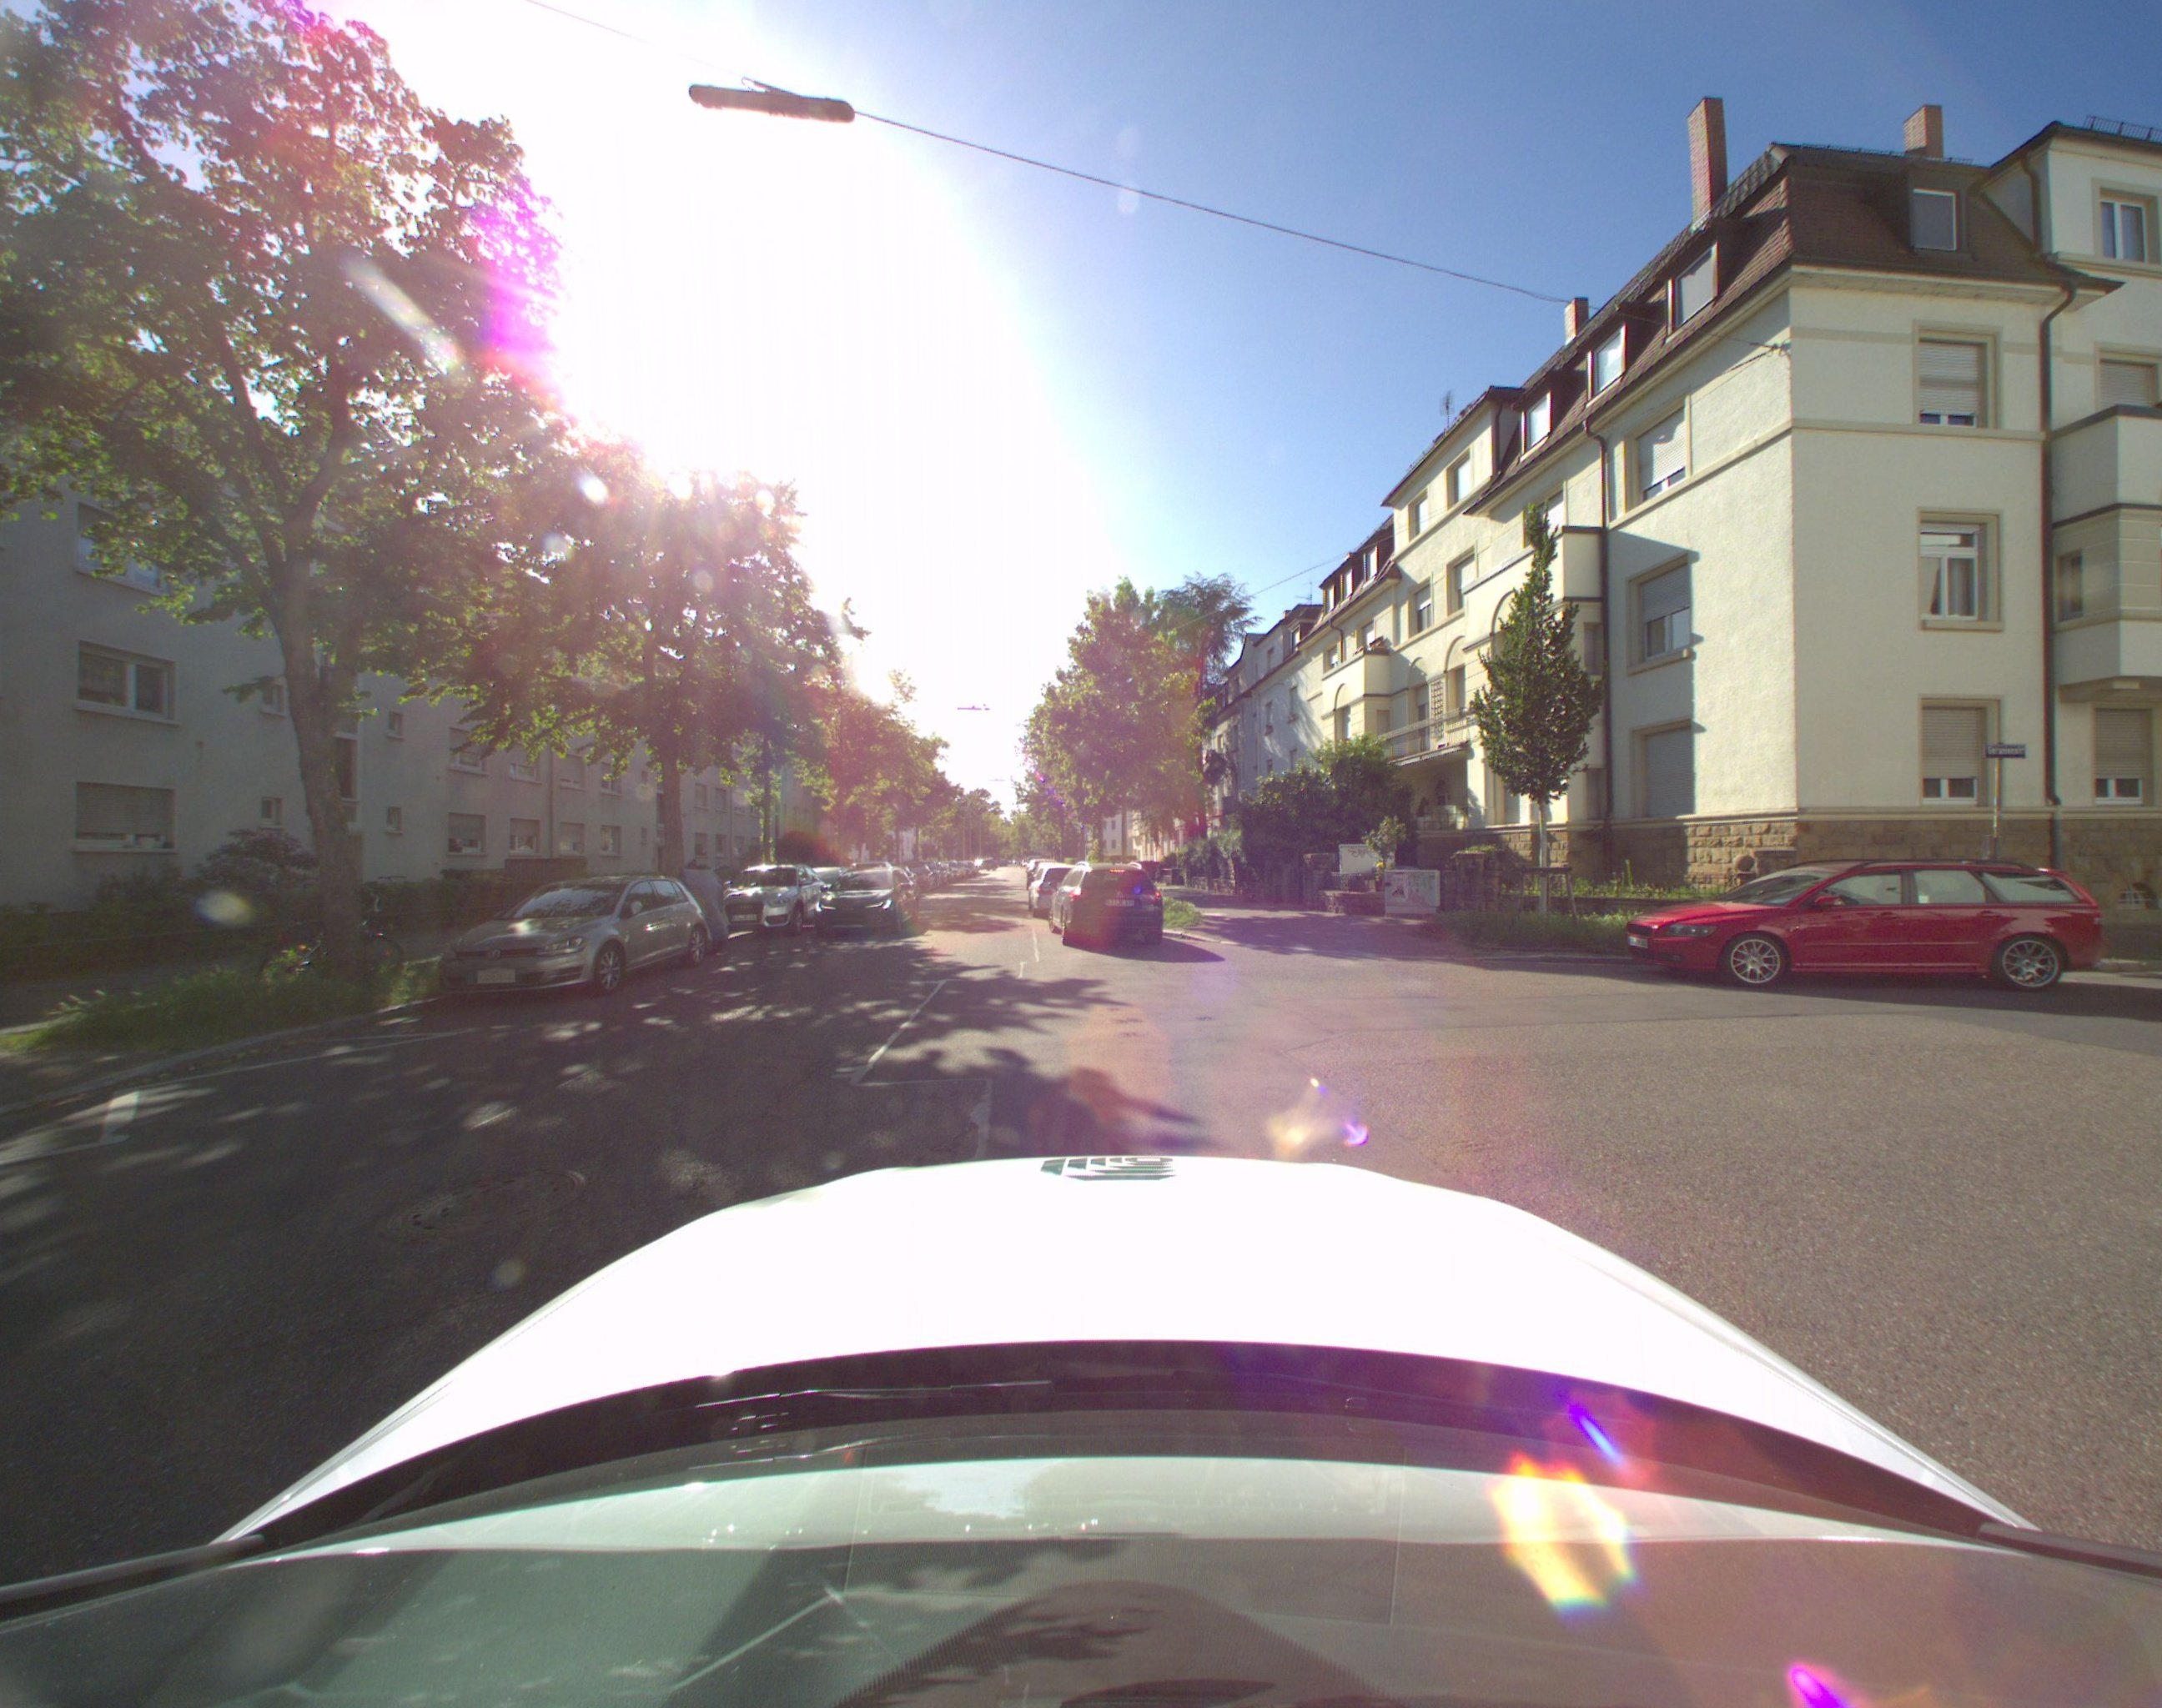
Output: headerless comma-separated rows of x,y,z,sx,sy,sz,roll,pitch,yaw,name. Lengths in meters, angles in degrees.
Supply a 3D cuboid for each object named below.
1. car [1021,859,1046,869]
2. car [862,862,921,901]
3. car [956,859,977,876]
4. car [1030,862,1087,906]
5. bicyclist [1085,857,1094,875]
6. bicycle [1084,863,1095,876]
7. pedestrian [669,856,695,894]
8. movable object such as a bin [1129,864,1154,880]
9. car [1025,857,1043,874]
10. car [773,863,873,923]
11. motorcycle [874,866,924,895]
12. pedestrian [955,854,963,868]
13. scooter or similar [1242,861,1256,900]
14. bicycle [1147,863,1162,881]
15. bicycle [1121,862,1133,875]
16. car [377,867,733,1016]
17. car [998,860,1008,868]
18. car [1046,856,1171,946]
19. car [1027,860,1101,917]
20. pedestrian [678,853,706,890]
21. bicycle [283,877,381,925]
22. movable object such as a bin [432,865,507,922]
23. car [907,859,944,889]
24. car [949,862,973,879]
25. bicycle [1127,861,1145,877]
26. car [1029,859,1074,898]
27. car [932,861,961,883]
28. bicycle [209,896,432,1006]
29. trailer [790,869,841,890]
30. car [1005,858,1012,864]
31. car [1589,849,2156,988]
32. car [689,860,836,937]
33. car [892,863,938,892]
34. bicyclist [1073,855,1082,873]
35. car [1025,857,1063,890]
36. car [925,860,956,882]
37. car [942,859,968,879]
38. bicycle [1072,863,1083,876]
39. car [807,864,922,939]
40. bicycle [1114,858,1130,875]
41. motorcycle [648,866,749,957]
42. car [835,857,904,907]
-7.922,1.588,135.576,3.985,1.587,1.722,-1,0,-9,car
-8.271,1.148,35.977,1.725,1.477,4.612,-4,0,-4,car
-11.667,1.338,83.506,1.837,1.595,4.254,-2,0,-5,car
-0.889,1.012,29.038,1.708,1.410,4.852,1,0,-5,car
0.734,1.080,74.001,0.676,1.553,1.019,-1,-1,-8,bicyclist
0.734,1.372,74.097,0.683,1.153,2.397,-1,0,-7,bicycle
-20.726,1.074,42.301,0.774,1.913,0.883,-1,-1,22,pedestrian
3.684,1.103,49.606,1.212,0.905,1.671,-1,0,16,movable object such as a bin
-5.516,1.306,94.307,1.967,1.949,4.976,-1,0,-5,car
-7.487,1.063,24.114,1.725,1.447,4.812,-3,0,-5,car
-8.856,1.267,39.561,2.289,1.270,0.804,-2,0,-15,motorcycle
-17.223,1.026,115.007,0.855,2.014,0.982,-1,0,4,pedestrian
5.283,0.832,25.674,0.399,1.185,1.209,-1,0,11,scooter or similar
4.178,1.019,46.134,0.580,0.975,1.901,-1,0,-3,bicycle
3.346,1.043,59.566,0.594,0.957,1.900,-1,0,-4,bicycle
-6.677,0.979,11.144,2.038,1.524,4.601,-1,0,-3,car
-15.916,1.982,166.530,1.782,1.609,3.988,-1,0,-8,car
0.372,0.841,16.347,1.893,1.524,4.957,0,-1,-5,car
-0.616,0.934,24.062,1.819,1.469,4.900,1,0,-5,car
-20.661,0.925,43.265,0.929,1.888,1.027,-1,-1,3,pedestrian
-18.156,1.111,19.811,0.786,1.041,1.930,-1,0,-9,bicycle
-14.976,0.950,19.998,0.929,1.324,1.374,-1,0,-10,movable object such as a bin
-9.118,1.138,48.036,1.788,1.566,4.454,-3,0,-7,car
-11.373,1.522,77.446,1.990,1.453,4.254,-3,0,-5,car
3.707,1.010,55.039,0.803,1.115,1.995,0,-1,-7,bicycle
-1.305,1.011,34.741,1.652,1.532,3.961,2,0,-5,car
-10.422,1.362,63.190,1.808,1.596,4.226,-1,0,-5,car
-8.915,1.080,9.698,0.529,1.015,2.091,6,0,2,bicycle
-14.498,1.366,44.592,1.784,1.034,3.278,-1,0,-2,trailer
-20.373,2.018,229.094,1.892,1.560,3.993,-1,0,-5,car
9.218,0.724,9.974,4.689,1.469,1.958,-1,-1,10,car
-7.181,0.918,18.945,2.062,1.524,4.710,-1,0,-7,car
-8.682,1.194,42.876,1.776,1.379,4.256,-3,0,-4,car
-0.322,0.927,74.192,0.676,1.609,0.919,-1,-1,-8,bicyclist
-1.996,1.010,44.283,1.921,1.652,5.090,1,0,-3,car
-9.921,1.159,57.684,1.759,1.443,3.902,-3,0,-5,car
-10.590,1.236,68.786,1.707,1.544,3.925,-3,0,-4,car
-0.329,1.377,74.243,0.683,1.153,2.397,-1,0,-7,bicycle
-4.877,1.003,18.952,1.806,1.445,4.358,-2,0,-5,car
3.089,0.961,61.950,0.838,1.257,2.225,0,-1,-8,bicycle
-7.053,1.003,14.970,0.995,1.503,2.206,-1,0,-44,motorcycle
-7.865,0.996,30.660,1.726,1.618,4.358,-4,0,-5,car
